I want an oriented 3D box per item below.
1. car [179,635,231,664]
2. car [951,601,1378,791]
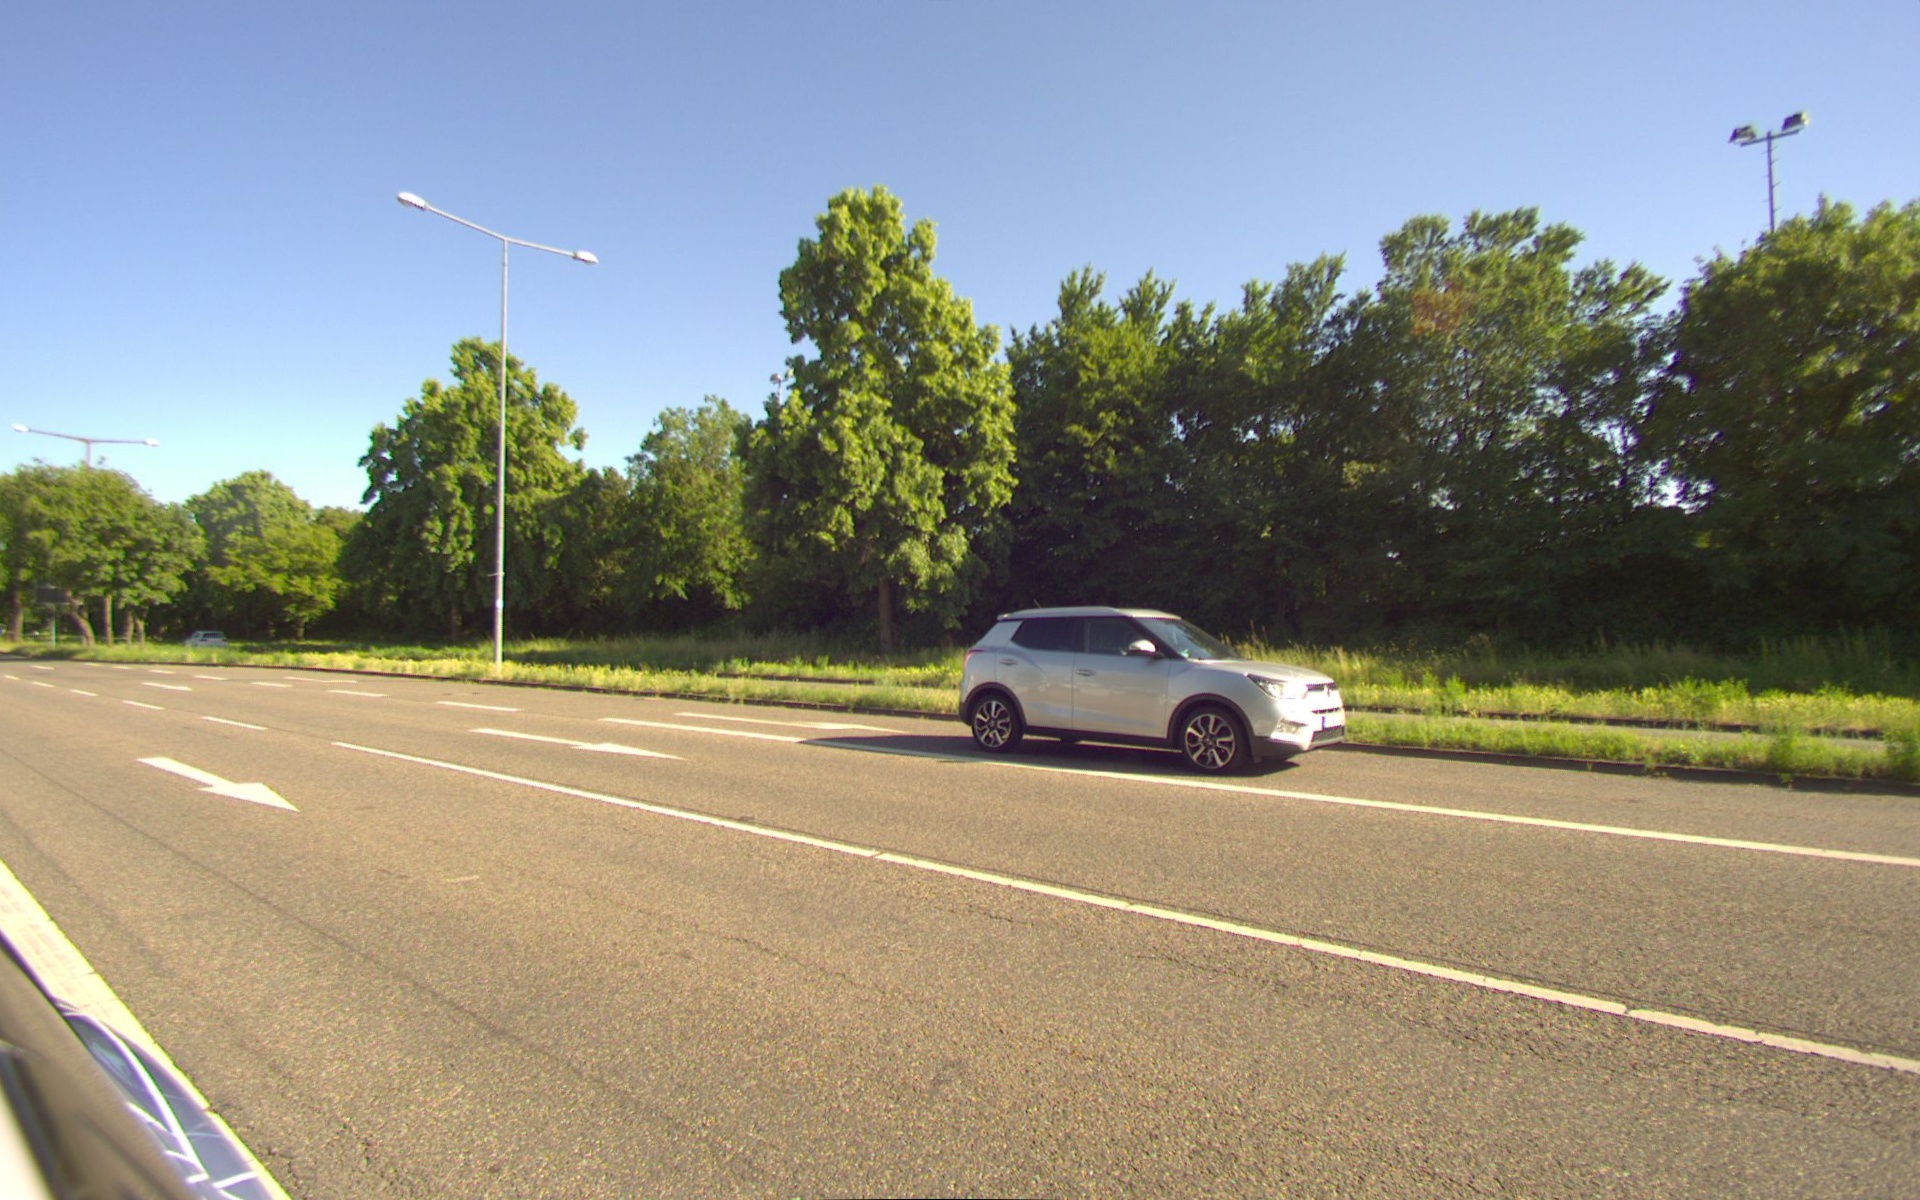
[{"bbox_3d":[-50.243,3.288,67.342,4.406,1.716,1.892,-1,0,41],"label":"car"},{"bbox_3d":[2.012,0.881,10.695,4.104,1.622,1.766,-2,-2,41],"label":"car"}]
